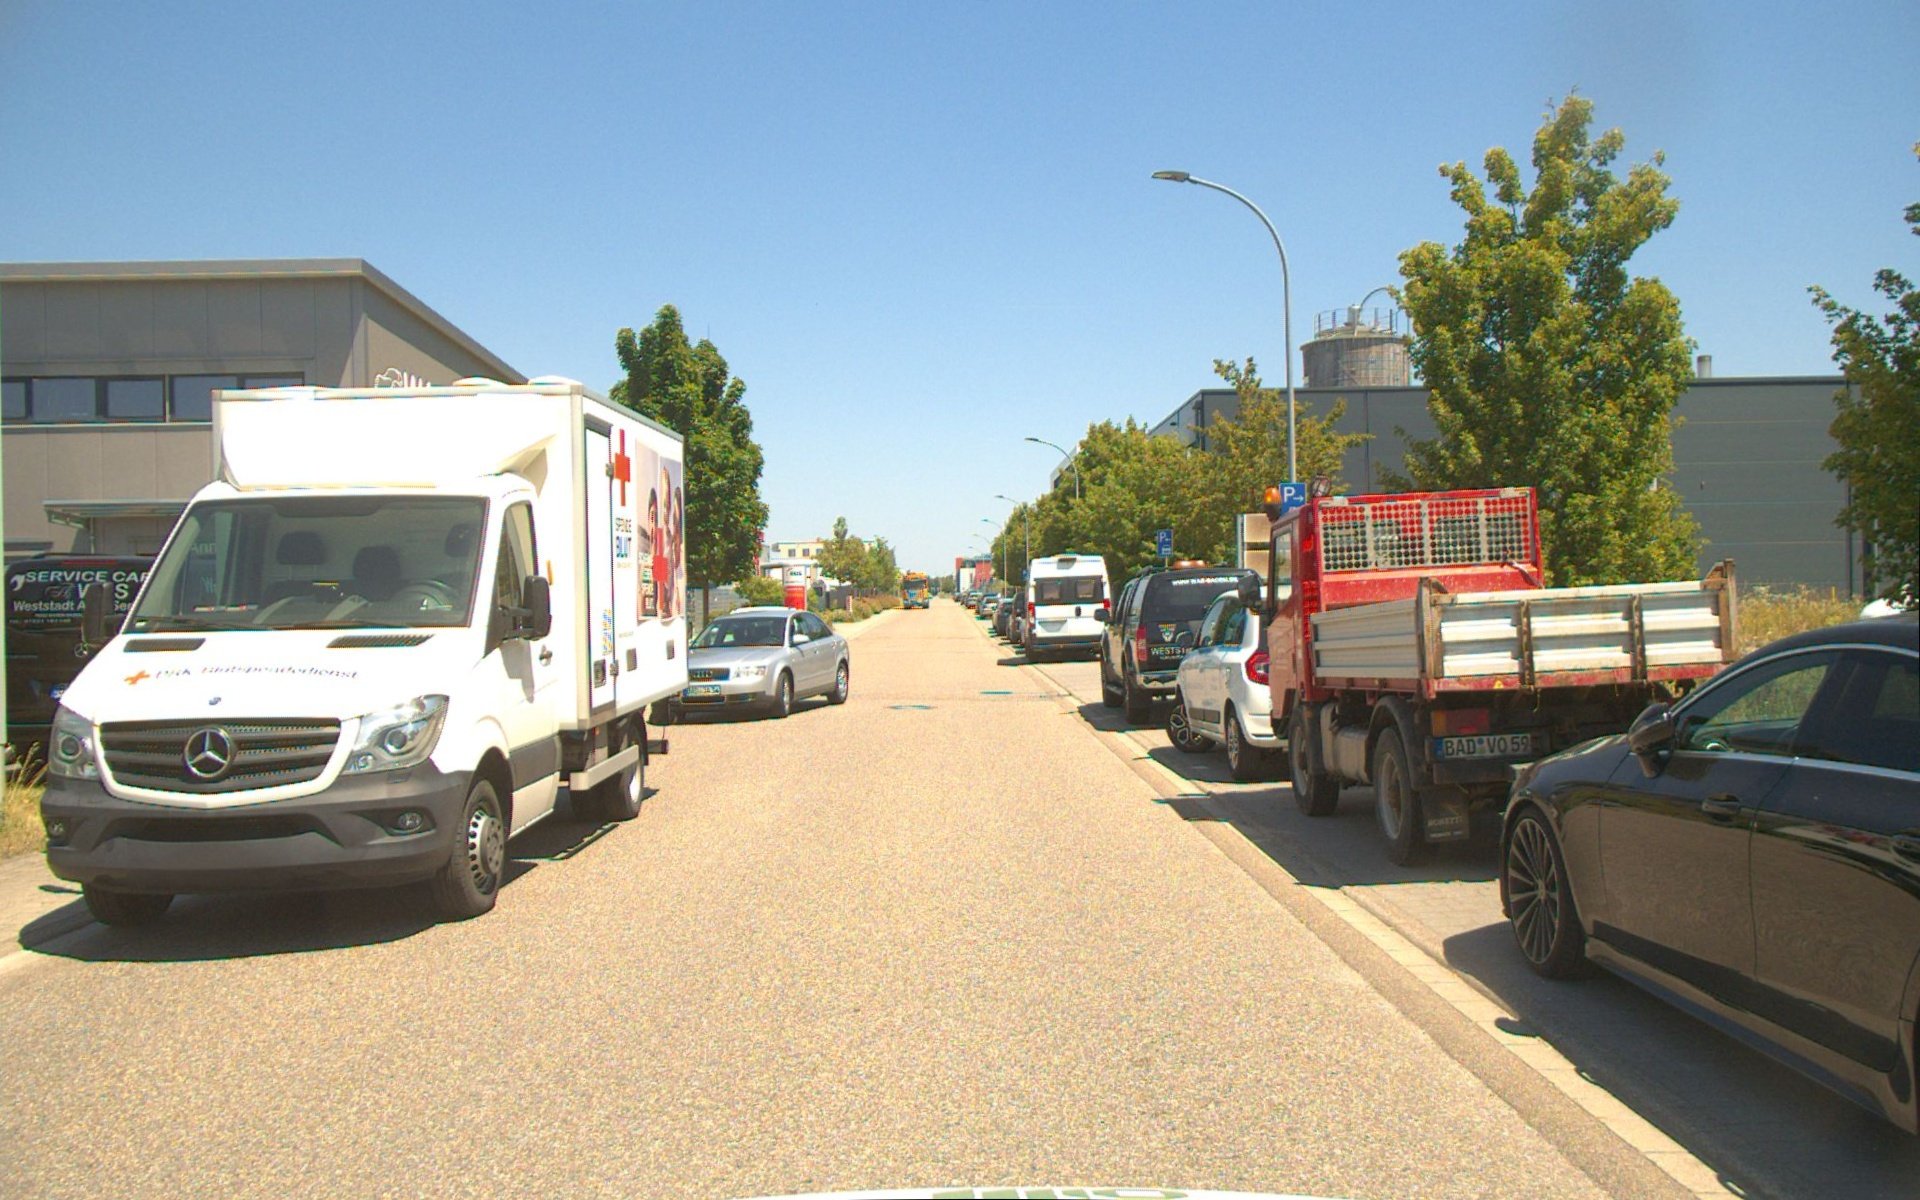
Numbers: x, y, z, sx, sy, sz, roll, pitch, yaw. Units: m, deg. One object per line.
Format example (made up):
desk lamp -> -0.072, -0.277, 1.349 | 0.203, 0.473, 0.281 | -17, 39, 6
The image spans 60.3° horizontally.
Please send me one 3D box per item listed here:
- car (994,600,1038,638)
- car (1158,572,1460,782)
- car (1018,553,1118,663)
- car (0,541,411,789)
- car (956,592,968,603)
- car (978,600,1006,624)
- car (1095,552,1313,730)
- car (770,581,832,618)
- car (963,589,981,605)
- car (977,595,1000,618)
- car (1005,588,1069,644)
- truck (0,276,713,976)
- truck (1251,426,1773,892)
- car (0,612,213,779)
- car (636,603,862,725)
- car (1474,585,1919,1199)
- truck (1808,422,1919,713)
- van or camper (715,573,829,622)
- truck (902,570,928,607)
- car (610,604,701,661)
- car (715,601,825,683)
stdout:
car -> 2.434, 0.803, 71.527 | 1.673, 1.531, 4.708 | -2, 0, 4
car -> 2.991, 0.612, 15.037 | 1.703, 1.557, 3.998 | -3, 0, -2
car -> 2.662, 0.186, 42.200 | 2.221, 2.541, 6.153 | -2, 0, 1
car -> -7.134, 0.537, 15.996 | 1.953, 1.991, 5.217 | -1, 0, -1
car -> 0.232, -0.343, 220.144 | 1.465, 1.434, 3.499 | -1, 0, -1
car -> 2.101, 0.786, 108.368 | 1.683, 1.475, 3.645 | -2, 0, -1
car -> 2.956, 0.467, 21.208 | 1.953, 1.917, 5.155 | -2, 0, 0
car -> -12.118, -0.049, 126.467 | 4.622, 2.631, 1.998 | -1, 0, -5
car -> 1.118, -0.260, 155.528 | 1.553, 1.434, 3.499 | -1, 0, -1
car -> 2.138, 0.468, 126.378 | 1.686, 1.724, 3.984 | -1, 0, 0
car -> 2.718, 0.566, 59.185 | 1.953, 1.857, 4.353 | -2, 0, -1
truck -> -3.247, 0.122, 10.359 | 2.313, 2.909, 6.414 | -3, 0, 0
truck -> 3.124, 0.290, 10.390 | 1.645, 2.219, 4.389 | -3, 0, -1
car -> -9.507, 0.866, 16.588 | 1.892, 1.441, 4.768 | 1, 0, -1
car -> -2.866, 0.831, 23.473 | 1.745, 1.447, 4.417 | -3, 0, 12
car -> 3.091, 0.685, 4.724 | 1.663, 1.407, 4.837 | -3, 0, 0
truck -> 12.611, -0.407, 17.788 | 5.703, 2.964, 2.414 | -2, 0, -2
van or camper -> -12.458, -0.175, 110.131 | 7.235, 3.090, 2.789 | -1, 0, -2
truck -> -4.479, -1.147, 166.375 | 2.399, 3.574, 8.271 | -2, 1, -1
car -> -10.289, 1.054, 56.238 | 1.952, 1.765, 4.915 | 0, 1, 3
car -> -3.671, 0.784, 32.663 | 1.694, 1.484, 4.491 | -1, 0, -1
